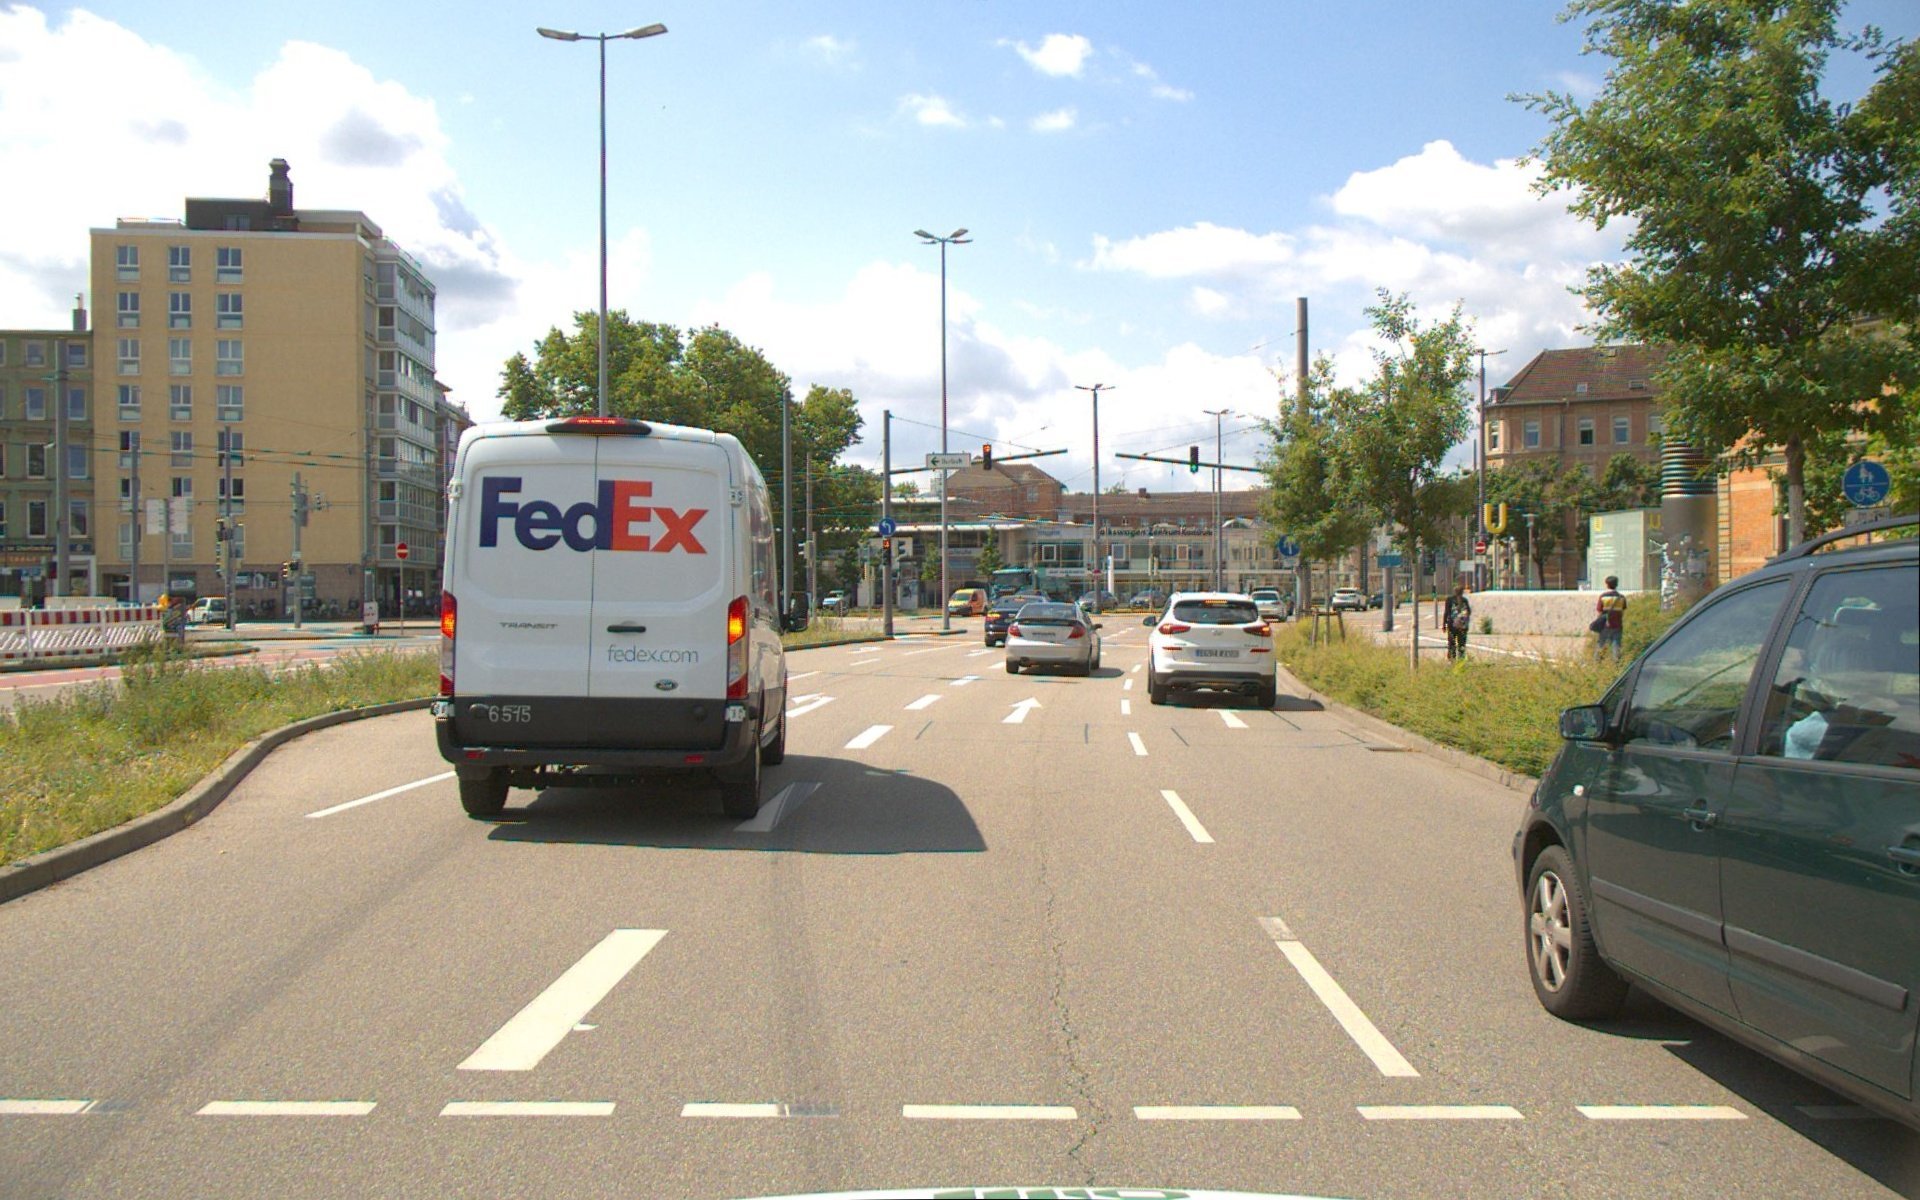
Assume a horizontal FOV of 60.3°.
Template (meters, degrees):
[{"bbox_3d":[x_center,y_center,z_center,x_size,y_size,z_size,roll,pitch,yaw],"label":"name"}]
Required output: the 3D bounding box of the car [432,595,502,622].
[{"bbox_3d":[-31.825,0.577,106.831,4.024,1.694,1.867,1,-1,-6],"label":"car"}]

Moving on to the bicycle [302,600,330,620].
[{"bbox_3d":[-38.725,0.598,99.445,2.092,1.167,0.509,0,-1,37],"label":"bicycle"}]

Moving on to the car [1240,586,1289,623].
[{"bbox_3d":[14.440,0.194,78.326,1.841,1.670,3.959,0,1,17],"label":"car"}]

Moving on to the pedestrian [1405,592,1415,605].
[{"bbox_3d":[33.450,-0.089,122.906,0.514,0.922,1.560,0,-1,24],"label":"pedestrian"}]

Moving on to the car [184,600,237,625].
[{"bbox_3d":[-41.358,0.689,91.213,1.647,1.344,3.301,-1,0,-45],"label":"car"}]

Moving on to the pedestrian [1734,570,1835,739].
[{"bbox_3d":[8.389,0.545,16.860,0.636,1.654,0.775,-3,-1,9],"label":"pedestrian"}]

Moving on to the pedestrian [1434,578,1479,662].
[{"bbox_3d":[9.749,0.395,32.474,0.740,1.617,0.762,0,-1,9],"label":"pedestrian"}]

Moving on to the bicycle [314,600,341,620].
[{"bbox_3d":[-38.152,0.608,99.763,2.092,1.167,0.509,0,-1,37],"label":"bicycle"}]

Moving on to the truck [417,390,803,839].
[{"bbox_3d":[-2.379,0.101,12.908,2.095,2.686,5.912,1,0,-4],"label":"truck"}]

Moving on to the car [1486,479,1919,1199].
[{"bbox_3d":[3.088,0.619,4.692,1.757,1.753,4.448,2,0,0],"label":"car"}]

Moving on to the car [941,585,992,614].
[{"bbox_3d":[0.438,-0.073,109.120,1.683,1.832,4.740,-1,0,22],"label":"car"}]

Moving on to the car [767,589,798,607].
[{"bbox_3d":[-16.424,-0.162,152.967,1.951,1.601,4.181,0,-1,7],"label":"car"}]

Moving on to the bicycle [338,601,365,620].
[{"bbox_3d":[-36.947,0.628,100.426,2.092,1.167,0.509,0,-1,37],"label":"bicycle"}]

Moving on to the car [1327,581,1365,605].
[{"bbox_3d":[27.133,-0.523,116.236,1.844,1.670,3.955,0,1,25],"label":"car"}]

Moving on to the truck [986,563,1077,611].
[{"bbox_3d":[4.672,-0.837,106.415,2.827,2.902,8.788,-1,0,24],"label":"truck"}]

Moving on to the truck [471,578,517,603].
[{"bbox_3d":[-41.556,-0.860,147.657,1.765,2.157,4.783,-1,0,14],"label":"truck"}]

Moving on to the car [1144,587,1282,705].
[{"bbox_3d":[3.846,0.639,25.774,1.841,1.670,4.235,0,1,5],"label":"car"}]

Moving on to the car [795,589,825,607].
[{"bbox_3d":[-13.836,-0.138,152.628,1.951,1.601,4.181,0,-1,7],"label":"car"}]

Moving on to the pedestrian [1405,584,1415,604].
[{"bbox_3d":[33.440,-0.474,122.911,0.678,1.483,0.679,0,-1,25],"label":"pedestrian"}]

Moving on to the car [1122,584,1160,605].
[{"bbox_3d":[13.731,-0.426,125.509,1.683,1.558,4.119,-1,0,24],"label":"car"}]

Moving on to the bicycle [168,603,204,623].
[{"bbox_3d":[-46.294,0.755,98.902,1.901,1.167,0.527,1,-1,-2],"label":"bicycle"}]

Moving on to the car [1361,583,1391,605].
[{"bbox_3d":[32.148,-0.481,127.690,1.842,1.670,3.958,0,1,20],"label":"car"}]

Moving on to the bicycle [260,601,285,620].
[{"bbox_3d":[-41.314,0.635,99.384,2.095,1.167,0.509,0,-1,40],"label":"bicycle"}]

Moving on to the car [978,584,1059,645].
[{"bbox_3d":[1.768,0.385,48.490,1.887,1.670,4.796,0,1,8],"label":"car"}]

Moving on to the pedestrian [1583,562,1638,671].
[{"bbox_3d":[11.233,0.289,28.571,0.740,1.853,0.674,0,-1,6],"label":"pedestrian"}]

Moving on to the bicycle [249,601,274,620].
[{"bbox_3d":[-41.857,0.633,99.122,2.095,1.167,0.509,0,-1,40],"label":"bicycle"}]

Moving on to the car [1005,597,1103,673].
[{"bbox_3d":[1.996,0.667,33.936,1.704,1.416,4.183,0,1,7],"label":"car"}]

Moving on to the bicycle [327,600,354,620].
[{"bbox_3d":[-37.480,0.618,100.058,2.093,1.167,0.531,0,-1,38],"label":"bicycle"}]

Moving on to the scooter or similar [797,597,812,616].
[{"bbox_3d":[-9.645,0.395,102.501,0.370,1.135,1.093,0,-1,28],"label":"scooter or similar"}]

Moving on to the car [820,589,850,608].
[{"bbox_3d":[-11.445,-0.120,152.026,1.951,1.601,4.181,0,-1,7],"label":"car"}]

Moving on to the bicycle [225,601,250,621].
[{"bbox_3d":[-43.240,0.656,98.970,2.095,1.167,0.509,0,-1,40],"label":"bicycle"}]
